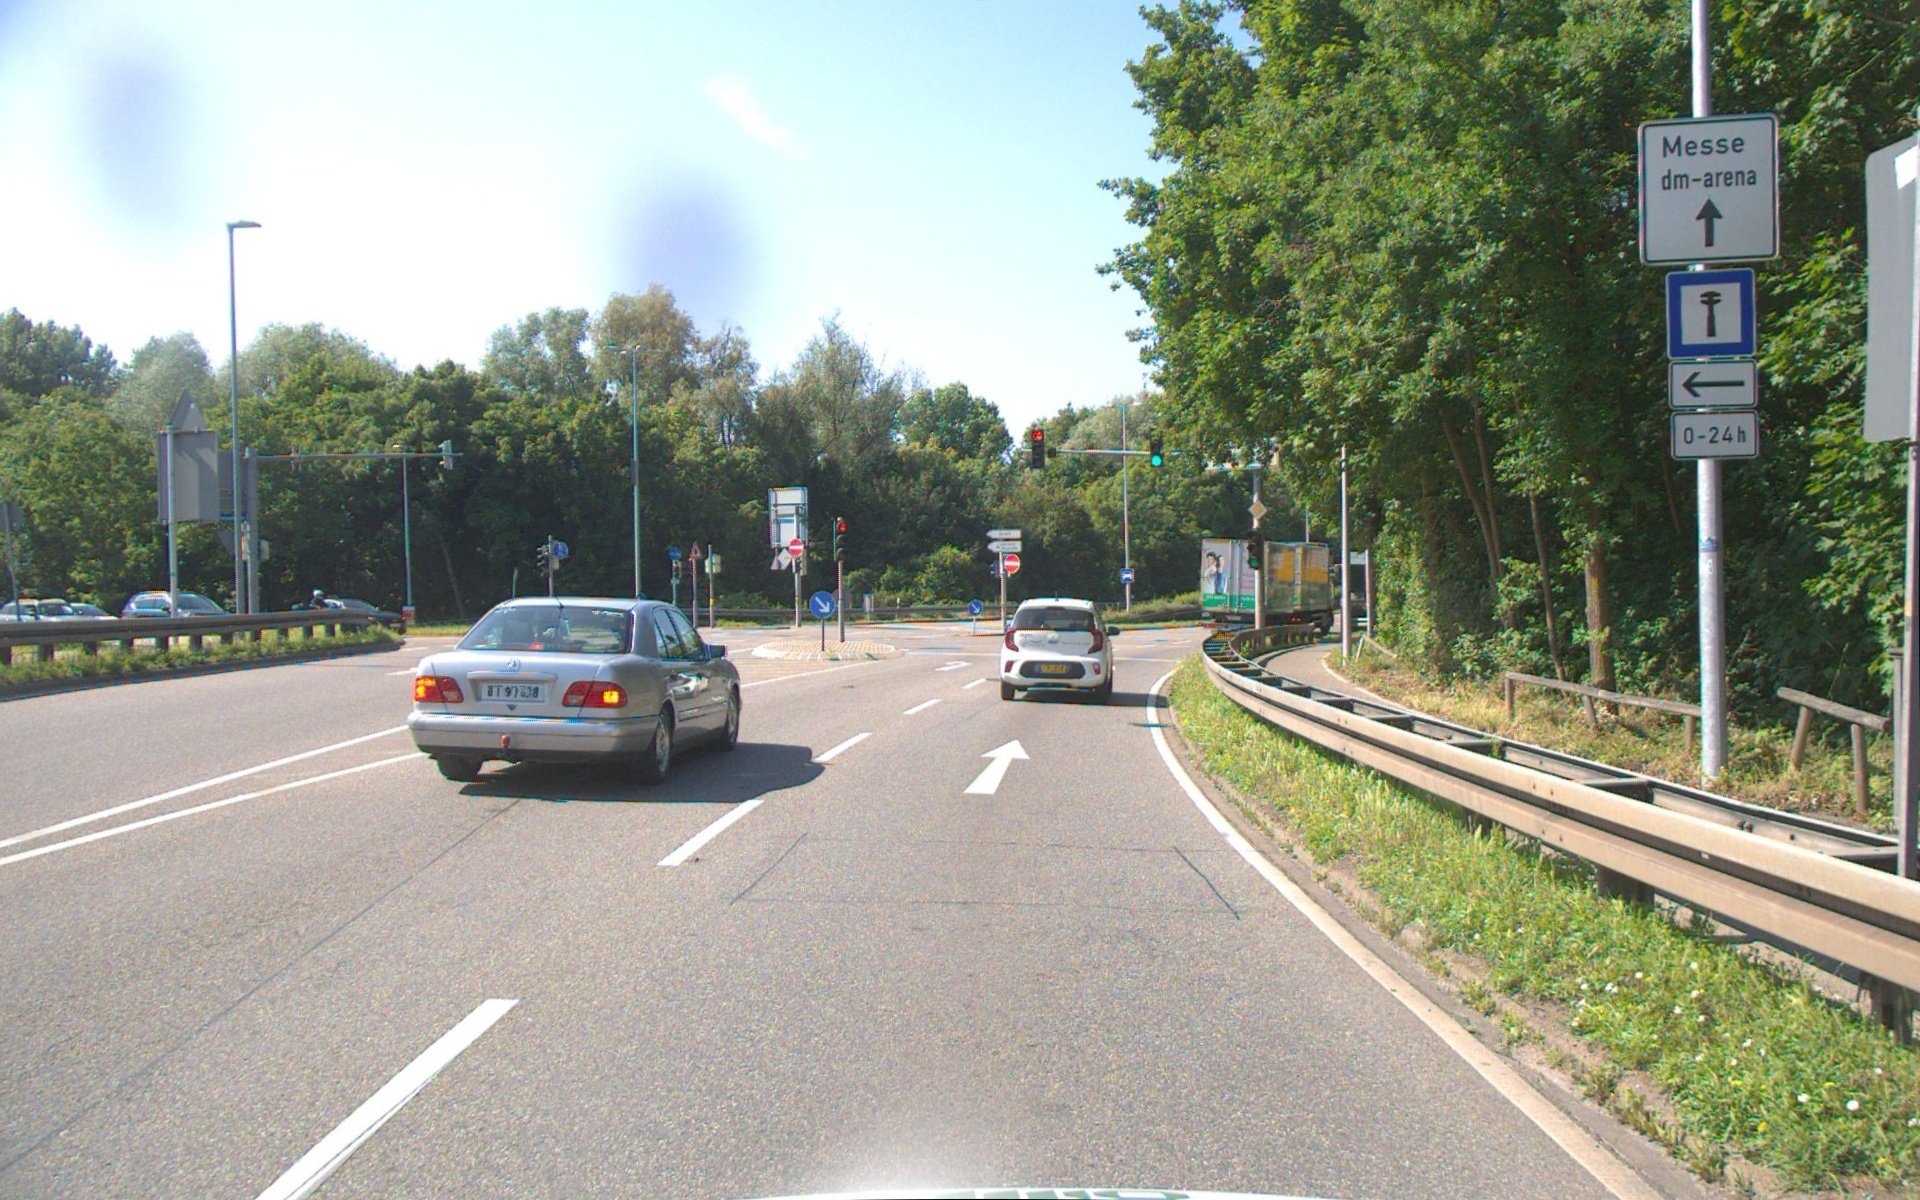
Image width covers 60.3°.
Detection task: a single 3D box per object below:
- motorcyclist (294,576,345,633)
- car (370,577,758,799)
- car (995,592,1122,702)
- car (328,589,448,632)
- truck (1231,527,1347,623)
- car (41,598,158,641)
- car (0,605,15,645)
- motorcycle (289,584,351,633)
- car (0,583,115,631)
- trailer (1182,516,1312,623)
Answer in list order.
[{"bbox_3d":[-22.449,0.155,57.961,1.430,1.903,0.892,-4,-3,25],"label":"motorcyclist"},{"bbox_3d":[-3.067,0.606,14.001,1.898,1.512,4.902,1,0,2],"label":"car"},{"bbox_3d":[1.596,0.684,25.653,1.665,1.520,4.003,1,0,7],"label":"car"},{"bbox_3d":[-20.760,0.402,60.008,3.909,1.244,1.951,-4,-4,26],"label":"car"},{"bbox_3d":[14.388,-0.994,71.760,3.195,3.824,8.368,3,0,23],"label":"truck"},{"bbox_3d":[-32.787,0.771,62.986,3.910,1.413,2.120,-3,-3,28],"label":"car"},{"bbox_3d":[-36.718,0.971,60.308,4.298,1.413,1.918,-3,-3,28],"label":"car"},{"bbox_3d":[-22.420,0.309,57.936,1.937,1.556,0.898,-4,-3,25],"label":"motorcycle"},{"bbox_3d":[-31.616,0.271,57.442,4.298,1.413,1.918,-3,-3,28],"label":"car"},{"bbox_3d":[11.267,-1.099,64.310,3.159,3.824,7.822,3,0,23],"label":"trailer"}]
